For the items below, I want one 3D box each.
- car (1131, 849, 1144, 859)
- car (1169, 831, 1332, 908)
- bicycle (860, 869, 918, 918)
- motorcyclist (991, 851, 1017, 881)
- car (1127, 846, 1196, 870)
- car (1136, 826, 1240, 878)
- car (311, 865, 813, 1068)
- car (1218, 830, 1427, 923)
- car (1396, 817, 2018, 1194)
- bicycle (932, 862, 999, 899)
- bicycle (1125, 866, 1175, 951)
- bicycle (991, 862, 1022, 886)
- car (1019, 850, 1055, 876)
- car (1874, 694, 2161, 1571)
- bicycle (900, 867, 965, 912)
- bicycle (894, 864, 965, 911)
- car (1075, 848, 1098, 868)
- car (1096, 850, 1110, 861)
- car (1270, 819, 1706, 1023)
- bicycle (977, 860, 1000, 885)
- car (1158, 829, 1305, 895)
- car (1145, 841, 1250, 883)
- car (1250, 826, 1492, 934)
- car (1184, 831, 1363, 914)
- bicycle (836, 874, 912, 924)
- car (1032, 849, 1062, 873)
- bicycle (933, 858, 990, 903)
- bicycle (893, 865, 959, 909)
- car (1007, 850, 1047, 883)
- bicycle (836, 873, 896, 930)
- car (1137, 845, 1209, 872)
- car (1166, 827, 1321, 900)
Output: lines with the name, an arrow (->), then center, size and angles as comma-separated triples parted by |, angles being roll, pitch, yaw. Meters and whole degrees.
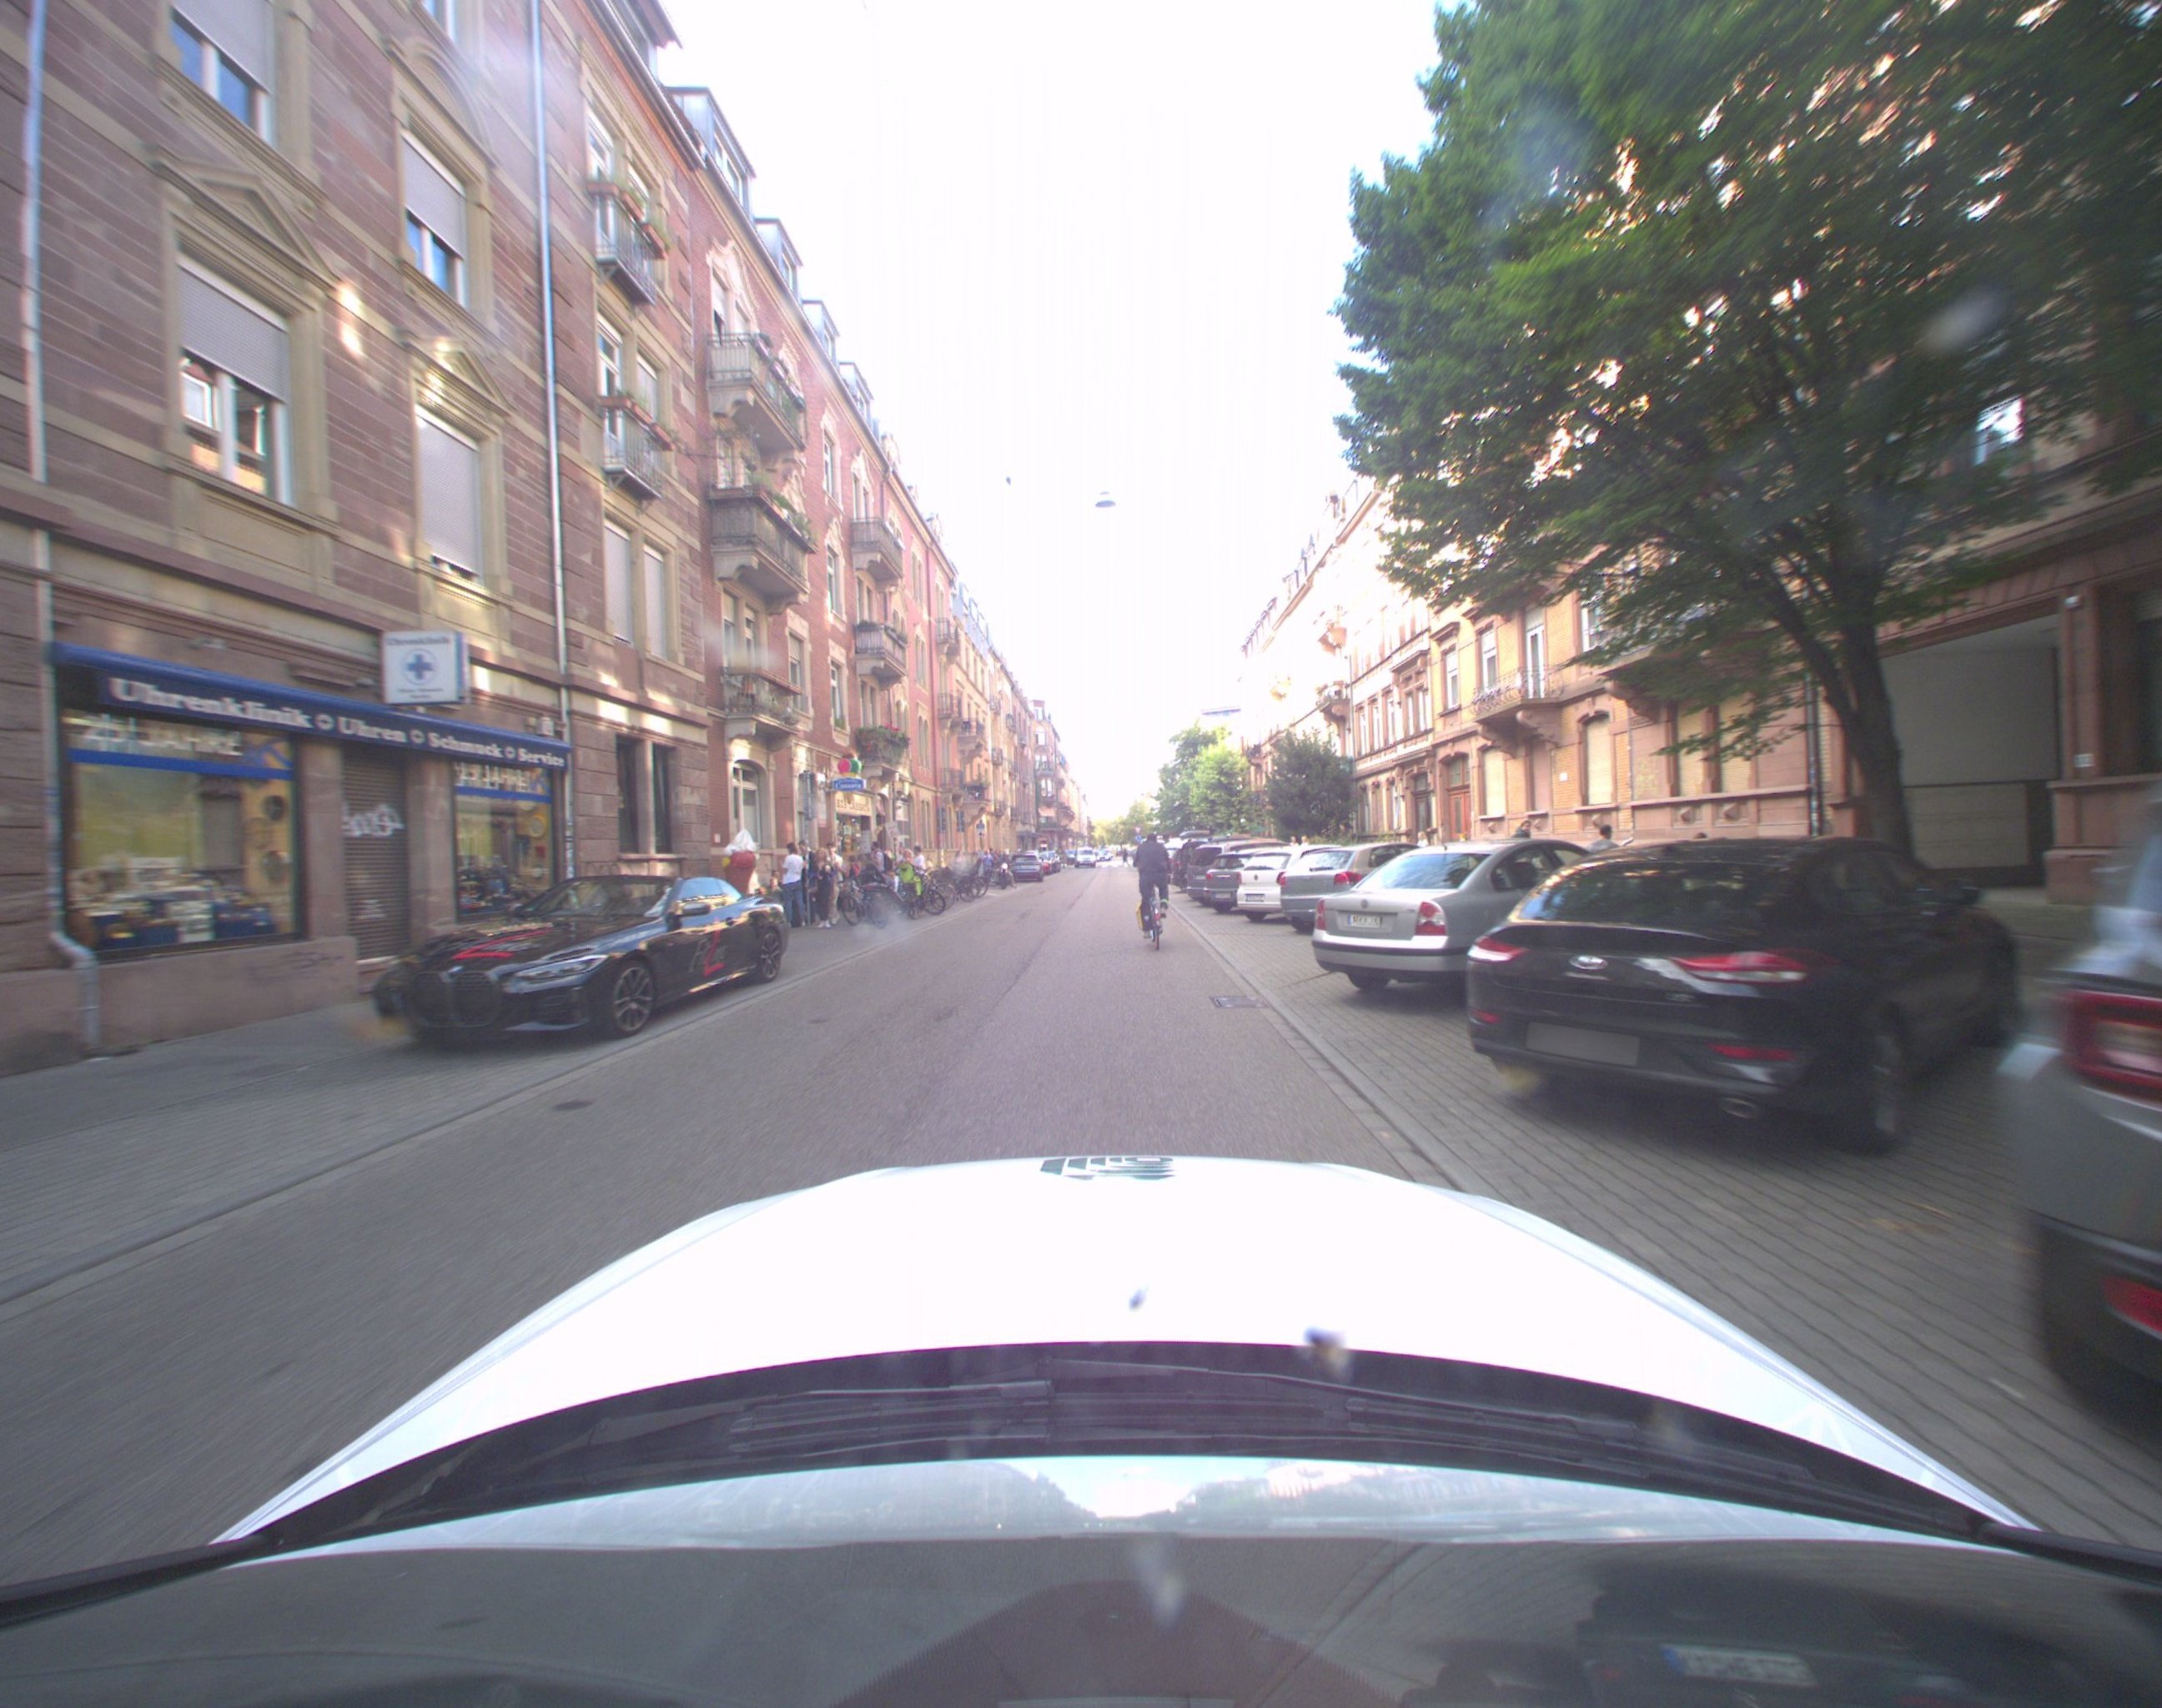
car -> 8.996, 0.052, 129.746 | 1.985, 1.486, 4.004 | -3, 0, 3
car -> 4.569, 0.380, 21.884 | 4.011, 1.741, 1.822 | -4, 0, -29
bicycle -> -4.626, 0.937, 19.756 | 0.574, 1.090, 1.745 | -1, 0, 15
motorcyclist -> -3.256, 0.494, 34.489 | 1.011, 1.245, 0.802 | -1, 0, -4
car -> 6.136, 0.284, 62.110 | 4.778, 1.456, 2.039 | -5, 2, -26
car -> 5.584, -0.138, 42.253 | 5.177, 2.405, 1.899 | -3, 0, -31
car -> -4.606, 0.851, 8.463 | 1.805, 1.351, 5.117 | -1, 0, 1
car -> 4.962, 0.426, 16.628 | 4.013, 1.450, 1.719 | -5, 0, -30
car -> 4.098, 0.556, 5.143 | 4.154, 1.417, 1.849 | -3, 1, -34
bicycle -> -3.857, 0.867, 27.308 | 0.798, 1.159, 2.284 | -1, 0, 39
bicycle -> 1.061, 0.802, 12.938 | 0.663, 1.178, 2.498 | -1, 0, 2
bicycle -> -3.418, 0.896, 37.391 | 0.477, 1.059, 1.915 | 0, 0, 26
car -> -2.881, 0.584, 54.495 | 1.986, 1.545, 4.428 | -2, 0, 2
car -> 4.034, 0.450, 2.213 | 4.015, 1.699, 1.833 | -3, 1, -33
bicycle -> -3.900, 0.913, 21.418 | 1.577, 1.120, 0.585 | -1, 0, -34
bicycle -> -4.091, 0.886, 22.040 | 1.798, 1.200, 0.585 | -1, 0, -34
car -> 0.546, 0.339, 75.990 | 1.910, 1.828, 4.441 | -1, 0, 3
car -> 2.981, 0.246, 111.599 | 1.744, 1.436, 4.212 | -1, -1, 1
car -> 4.354, 0.512, 8.501 | 4.626, 1.451, 1.776 | -4, 0, -30
bicycle -> -4.186, 0.845, 37.095 | 0.490, 1.095, 1.910 | 0, 0, 11
car -> 5.079, 0.239, 27.874 | 4.620, 1.784, 1.810 | -5, 2, 1
car -> 5.248, 0.326, 36.532 | 4.474, 1.732, 1.979 | -2, 1, -33
car -> 5.114, 0.399, 14.214 | 4.016, 1.461, 1.867 | -4, -1, -34
car -> 4.608, 0.391, 19.303 | 4.018, 1.548, 1.849 | -5, 1, -35
bicycle -> -4.506, 0.971, 17.715 | 1.667, 1.030, 0.411 | -1, 0, 22
car -> -2.453, 0.526, 59.960 | 1.783, 1.628, 4.850 | -2, 0, 2
bicycle -> -3.679, 0.794, 25.144 | 1.684, 1.322, 0.522 | -1, 0, -34
bicycle -> -4.298, 0.901, 22.634 | 1.745, 1.120, 0.549 | -1, 0, -34
car -> -2.782, 0.610, 43.086 | 1.820, 1.578, 5.261 | -1, 0, -1
bicycle -> -4.474, 0.959, 16.908 | 1.561, 1.117, 0.376 | -1, 0, 41
car -> 6.070, 0.280, 53.681 | 4.486, 1.464, 1.860 | -5, 2, -33
car -> 4.936, 0.259, 24.524 | 4.417, 1.822, 1.738 | -4, 0, -30
